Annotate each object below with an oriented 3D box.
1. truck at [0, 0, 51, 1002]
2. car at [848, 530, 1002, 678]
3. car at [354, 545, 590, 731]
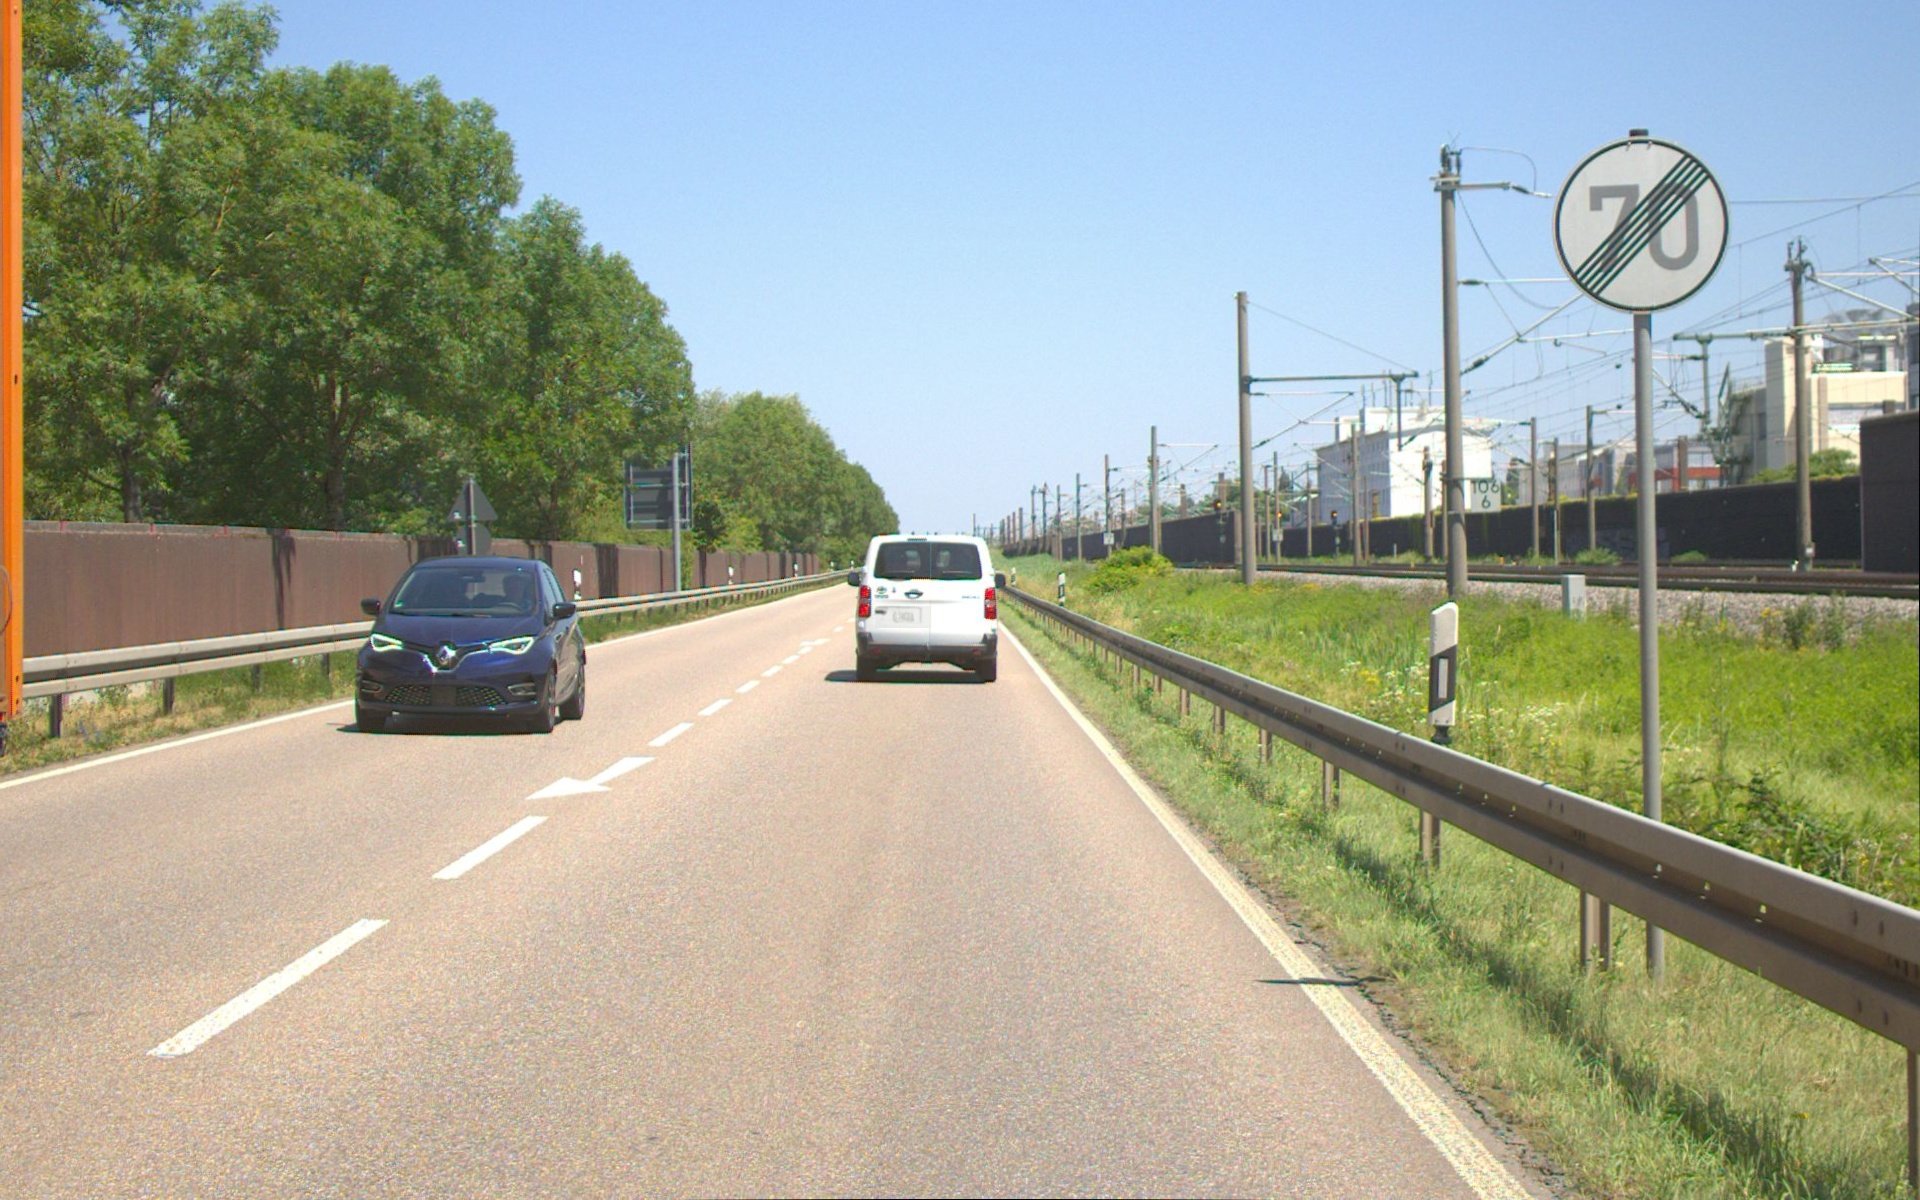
[{"bbox_3d":[-4.581,-0.521,7.540,2.792,3.827,9.324,0,1,-1],"label":"truck"},{"bbox_3d":[-0.459,0.033,46.296,1.946,1.875,4.881,0,0,0],"label":"car"},{"bbox_3d":[-4.393,0.295,31.389,1.622,1.572,3.763,0,1,0],"label":"car"}]
